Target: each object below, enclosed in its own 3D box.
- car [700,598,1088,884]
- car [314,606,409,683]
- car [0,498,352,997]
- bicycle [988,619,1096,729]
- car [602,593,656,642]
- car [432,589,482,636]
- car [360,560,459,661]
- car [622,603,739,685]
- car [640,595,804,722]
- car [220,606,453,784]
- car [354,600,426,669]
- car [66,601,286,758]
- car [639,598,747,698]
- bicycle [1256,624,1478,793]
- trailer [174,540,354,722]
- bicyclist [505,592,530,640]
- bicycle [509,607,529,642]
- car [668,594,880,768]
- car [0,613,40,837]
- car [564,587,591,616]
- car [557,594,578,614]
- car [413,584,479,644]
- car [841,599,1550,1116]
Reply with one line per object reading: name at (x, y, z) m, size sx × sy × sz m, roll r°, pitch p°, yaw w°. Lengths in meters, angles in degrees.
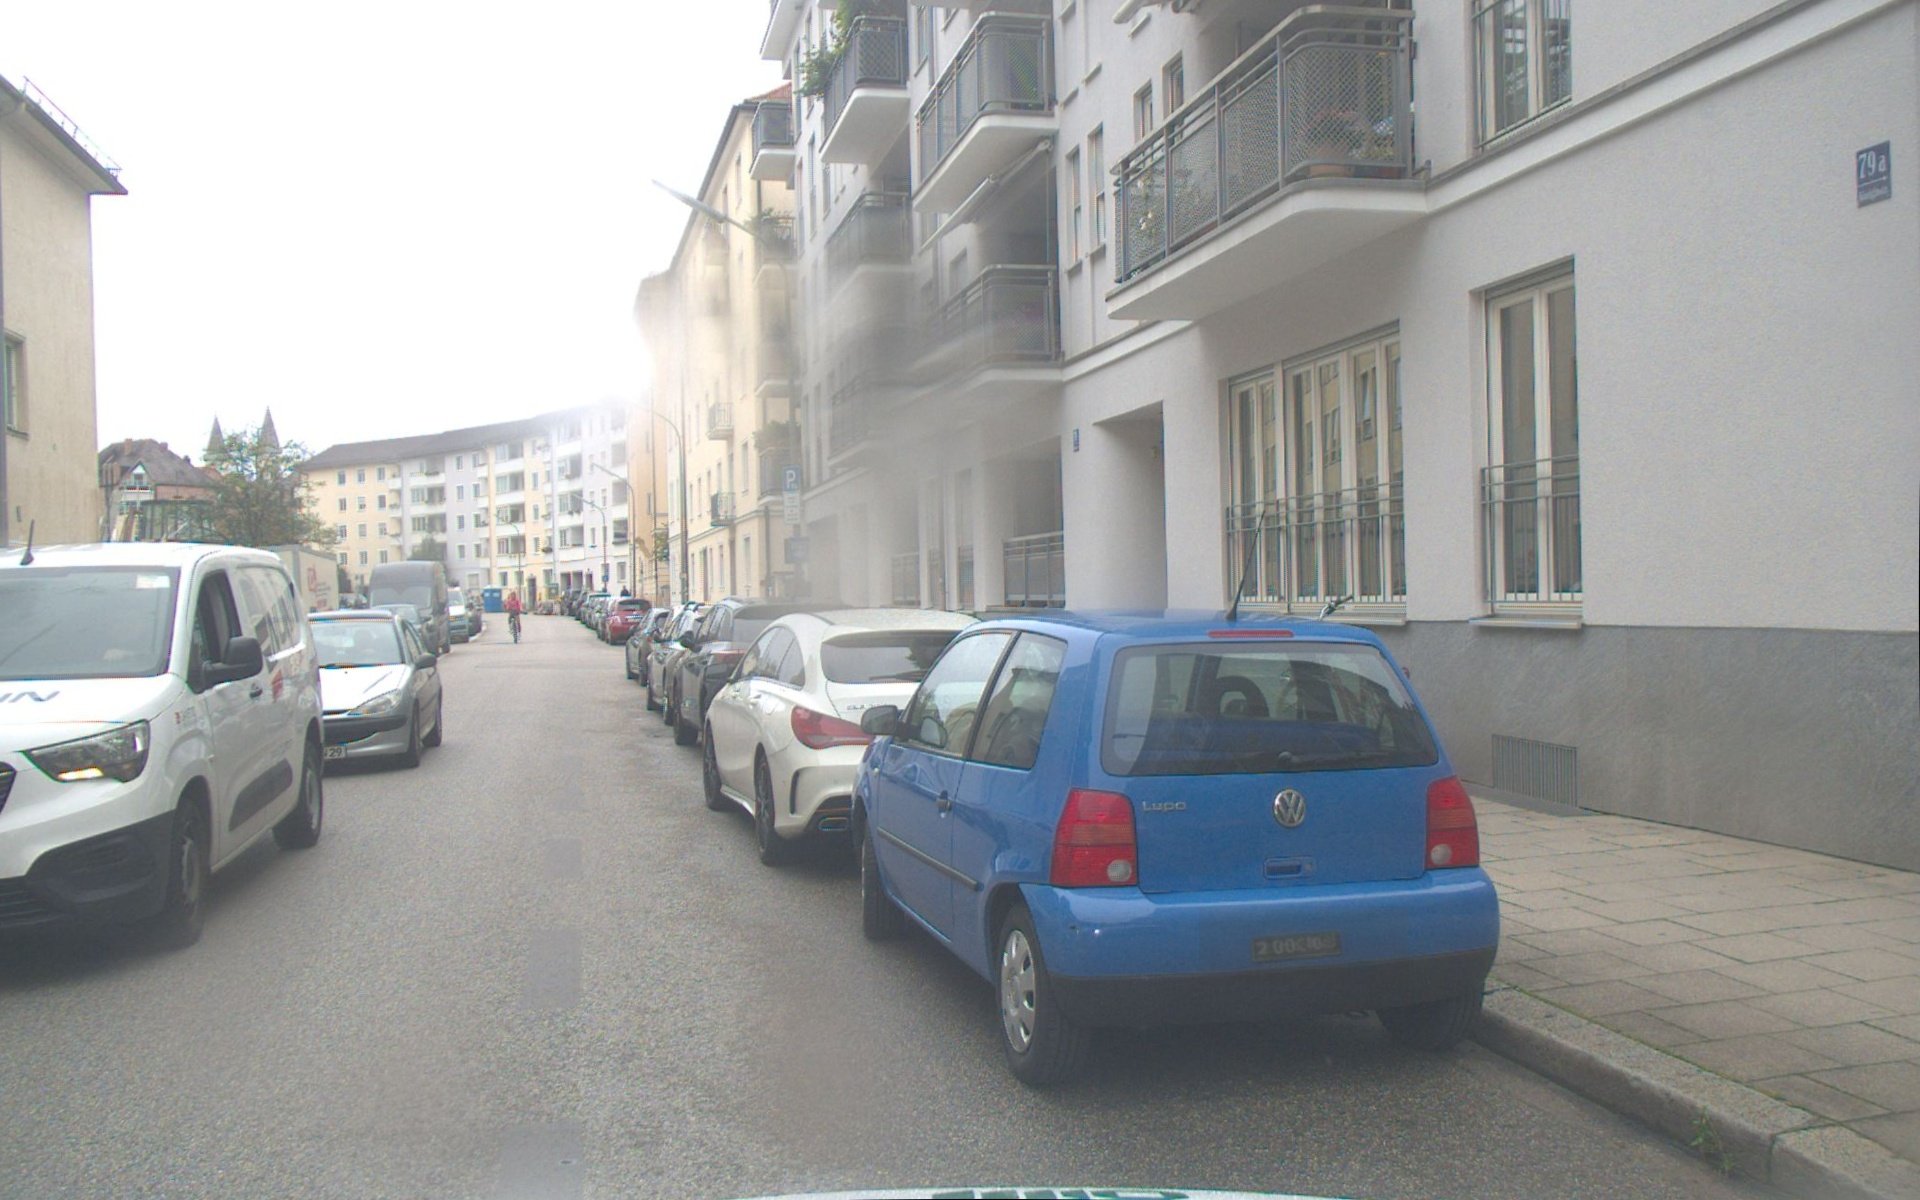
car at (-0.638, 0.732, 10.722) m, size 1.630 × 1.465 × 4.190 m, roll 1°, pitch 0°, yaw -15°
car at (-12.999, 0.924, 36.105) m, size 1.673 × 1.471 × 3.808 m, roll -1°, pitch 1°, yaw -16°
car at (-4.419, 0.593, 8.297) m, size 1.740 × 1.835 × 4.560 m, roll -3°, pitch 0°, yaw -11°
bicycle at (0.946, 0.847, 19.724) m, size 0.617 × 1.180 × 2.118 m, roll -2°, pitch 0°, yaw -16°
car at (-11.030, 0.551, 54.979) m, size 1.568 × 1.535 × 3.787 m, roll -2°, pitch 1°, yaw -14°
car at (-20.407, 0.485, 67.189) m, size 1.674 × 1.720 × 4.012 m, roll -4°, pitch 1°, yaw -15°
car at (-15.720, 0.254, 47.520) m, size 2.052 × 2.682 × 5.360 m, roll -2°, pitch 1°, yaw -12°
car at (-5.443, 0.813, 31.854) m, size 1.735 × 1.432 × 4.060 m, roll -1°, pitch 0°, yaw -16°
car at (-3.389, 0.734, 22.880) m, size 1.705 × 1.557 × 4.603 m, roll 1°, pitch 0°, yaw -15°
car at (-5.840, 0.815, 15.846) m, size 1.554 × 1.436 × 3.600 m, roll -2°, pitch 0°, yaw -13°
car at (-14.247, 0.828, 41.455) m, size 1.561 × 1.565 × 3.525 m, roll -3°, pitch 1°, yaw -18°
car at (-9.539, 0.880, 20.420) m, size 1.659 × 1.630 × 3.906 m, roll -4°, pitch 1°, yaw -15°
car at (-4.549, 0.753, 27.868) m, size 1.494 × 1.557 × 3.513 m, roll 0°, pitch 0°, yaw -14°
bicycle at (2.755, 0.713, 11.413) m, size 0.666 × 1.046 × 1.827 m, roll -2°, pitch -1°, yaw -15°
trailer at (-10.793, 0.426, 25.953) m, size 1.680 × 2.504 × 4.373 m, roll -3°, pitch 1°, yaw -12°
bicyclist at (-15.037, 0.538, 56.274) m, size 0.682 × 1.589 × 0.964 m, roll -3°, pitch 1°, yaw -11°
bicycle at (-15.003, 0.825, 56.292) m, size 0.495 × 1.148 × 1.768 m, roll -3°, pitch 1°, yaw -11°
car at (-2.015, 0.734, 16.911) m, size 1.577 × 1.557 × 3.968 m, roll 1°, pitch 0°, yaw -15°
car at (-6.974, 0.878, 10.188) m, size 1.449 × 1.492 × 3.300 m, roll -3°, pitch 1°, yaw -15°
car at (-22.815, 0.084, 98.515) m, size 1.450 × 1.669 × 3.984 m, roll 0°, pitch 0°, yaw -15°
car at (-25.945, 0.259, 109.199) m, size 1.251 × 1.321 × 2.786 m, roll -1°, pitch 0°, yaw -15°
car at (-18.580, 0.460, 59.910) m, size 1.851 × 1.965 × 4.585 m, roll -3°, pitch 1°, yaw -13°
car at (0.605, 0.737, 6.533) m, size 1.591 × 1.437 × 3.541 m, roll 1°, pitch -1°, yaw -14°
